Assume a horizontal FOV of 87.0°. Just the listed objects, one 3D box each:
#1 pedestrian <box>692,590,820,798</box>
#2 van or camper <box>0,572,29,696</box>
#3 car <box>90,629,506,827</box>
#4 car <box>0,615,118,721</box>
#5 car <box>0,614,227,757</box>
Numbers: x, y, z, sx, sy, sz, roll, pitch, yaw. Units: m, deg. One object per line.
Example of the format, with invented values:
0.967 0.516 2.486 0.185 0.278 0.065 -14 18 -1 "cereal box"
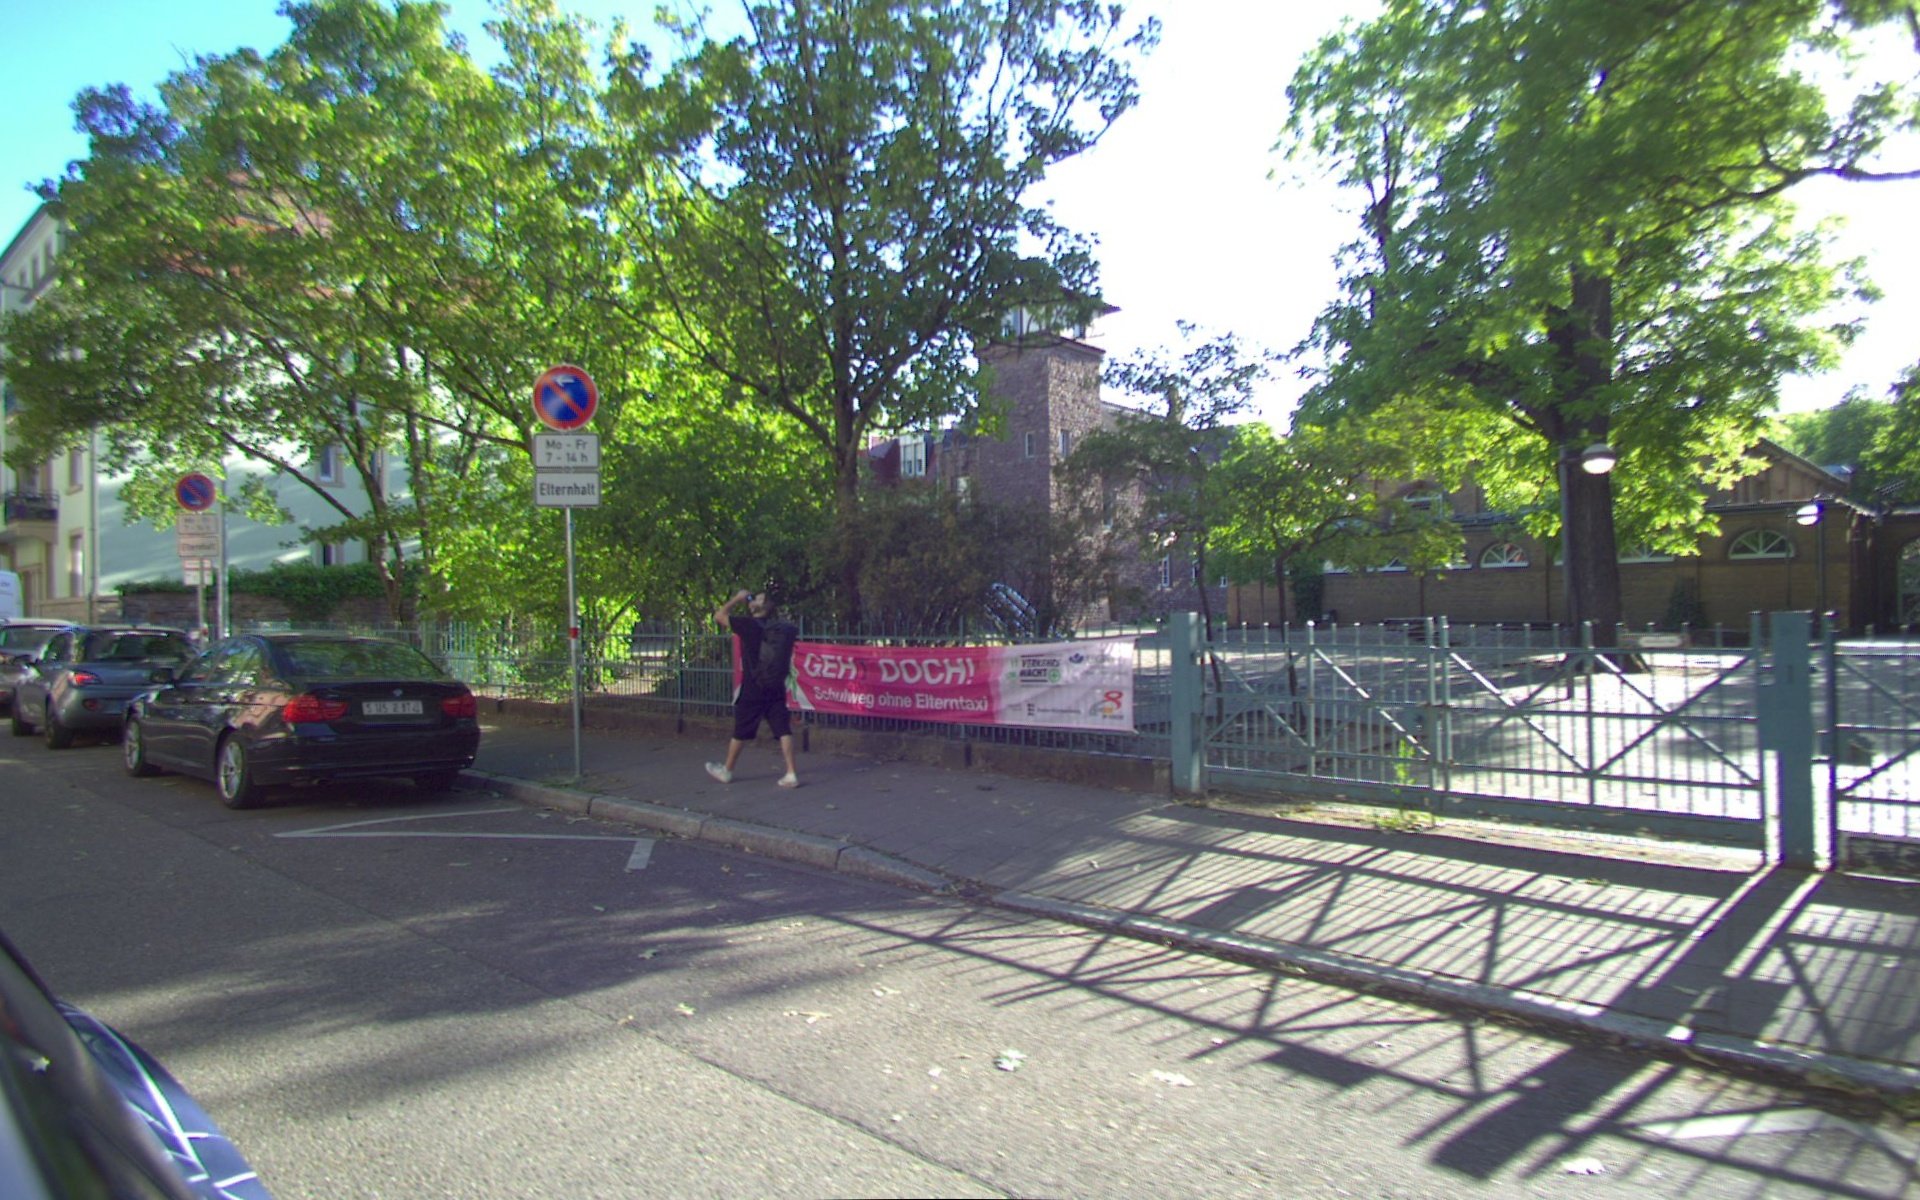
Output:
-1.656 0.720 8.266 0.529 1.589 0.872 -1 0 39 "pedestrian"
-24.298 0.800 24.161 5.844 2.790 2.107 -2 -3 39 "van or camper"
-6.266 1.009 9.346 4.772 1.406 1.697 -1 -5 38 "car"
-16.016 1.097 17.153 4.463 1.603 1.763 -2 -3 39 "car"
-11.230 1.038 13.213 4.147 1.585 1.659 -2 -4 40 "car"
